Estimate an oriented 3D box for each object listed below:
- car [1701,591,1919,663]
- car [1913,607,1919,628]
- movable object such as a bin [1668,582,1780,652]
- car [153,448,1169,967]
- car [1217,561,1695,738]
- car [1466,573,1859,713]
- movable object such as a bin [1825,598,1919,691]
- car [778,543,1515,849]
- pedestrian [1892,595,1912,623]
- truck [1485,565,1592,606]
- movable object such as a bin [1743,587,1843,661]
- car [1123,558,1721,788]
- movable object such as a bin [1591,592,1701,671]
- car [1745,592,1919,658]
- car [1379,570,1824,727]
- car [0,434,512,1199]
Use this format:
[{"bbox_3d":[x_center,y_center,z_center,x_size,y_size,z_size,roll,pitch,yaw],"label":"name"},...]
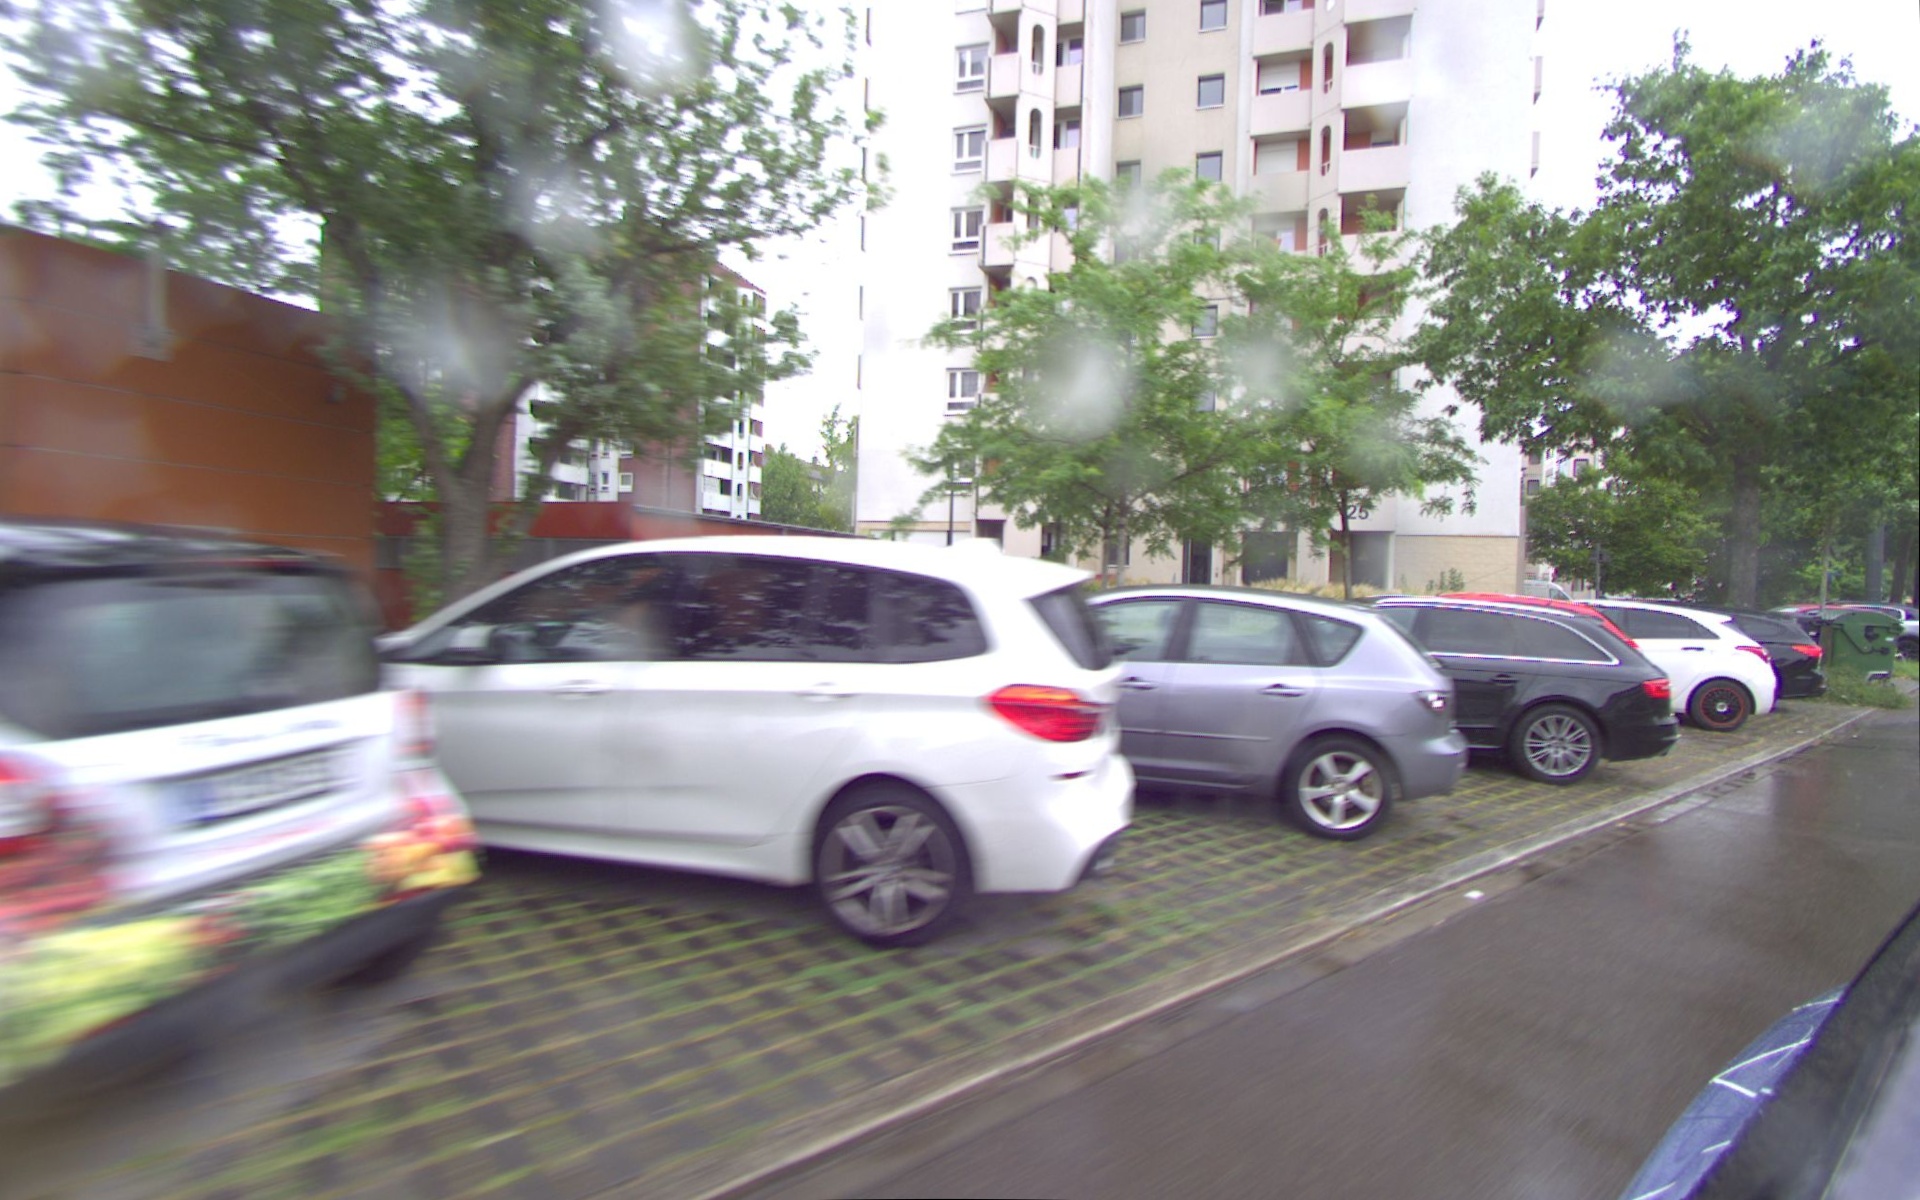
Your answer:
[{"bbox_3d":[22.373,0.668,26.796,3.989,1.507,1.717,4,2,14],"label":"car"},{"bbox_3d":[65.292,1.173,65.737,4.423,1.344,1.987,1,1,20],"label":"car"},{"bbox_3d":[14.456,0.300,19.198,1.220,1.267,1.185,0,1,5],"label":"movable object such as a bin"},{"bbox_3d":[-1.287,0.315,5.021,4.391,1.692,1.807,5,2,11],"label":"car"},{"bbox_3d":[5.255,0.451,11.380,4.393,1.445,1.804,5,2,12],"label":"car"},{"bbox_3d":[10.221,0.542,15.160,4.404,1.560,1.675,5,4,19],"label":"car"},{"bbox_3d":[16.591,0.770,18.282,1.152,1.582,1.362,1,1,26],"label":"movable object such as a bin"},{"bbox_3d":[1.147,0.484,7.092,4.399,1.427,1.760,5,2,16],"label":"car"},{"bbox_3d":[70.103,0.665,75.339,1.140,2.039,1.012,0,1,-44],"label":"pedestrian"},{"bbox_3d":[35.516,-0.907,62.242,5.633,2.468,2.100,1,1,32],"label":"truck"},{"bbox_3d":[15.607,0.420,19.000,0.981,1.329,1.183,0,1,12],"label":"movable object such as a bin"},{"bbox_3d":[3.816,0.511,9.092,4.401,1.445,1.676,5,2,17],"label":"car"},{"bbox_3d":[13.123,0.577,19.415,1.344,1.440,1.184,0,1,8],"label":"movable object such as a bin"},{"bbox_3d":[24.979,0.671,28.606,3.988,1.706,1.717,1,1,14],"label":"car"},{"bbox_3d":[7.952,0.525,13.069,4.399,1.483,1.811,5,2,16],"label":"car"},{"bbox_3d":[-3.784,0.338,3.189,4.124,1.692,1.678,5,2,14],"label":"car"}]
